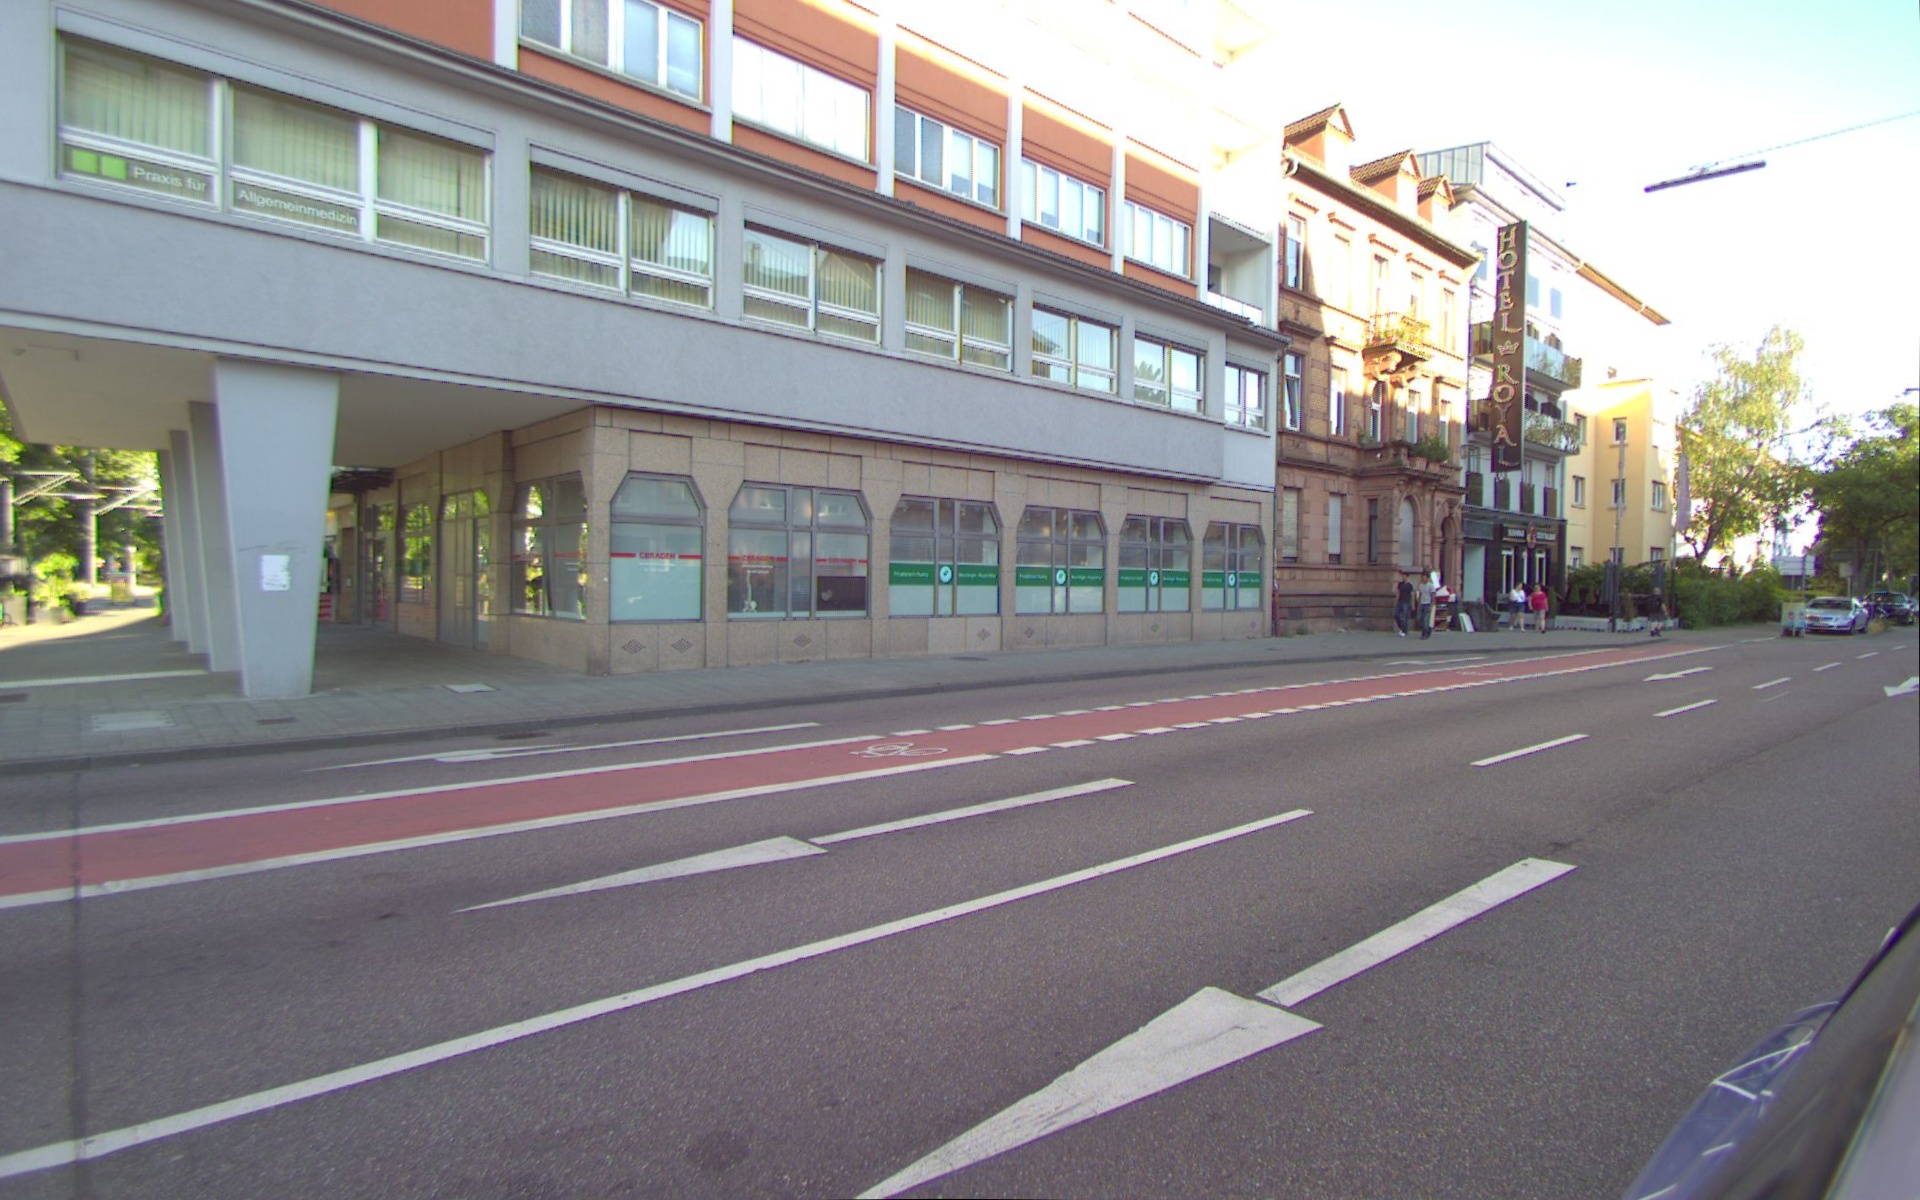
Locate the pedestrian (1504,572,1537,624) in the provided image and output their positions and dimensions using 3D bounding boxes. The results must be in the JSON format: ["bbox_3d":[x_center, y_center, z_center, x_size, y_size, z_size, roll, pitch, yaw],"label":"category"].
[{"bbox_3d":[18.555,-0.076,33.515,0.780,1.606,1.002,5,4,26],"label":"pedestrian"}]

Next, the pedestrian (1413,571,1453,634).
[{"bbox_3d":[13.339,0.060,28.512,0.993,1.747,0.667,0,1,-42],"label":"pedestrian"}]

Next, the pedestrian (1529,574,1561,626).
[{"bbox_3d":[19.190,-0.016,33.241,0.732,1.606,1.002,5,5,27],"label":"pedestrian"}]

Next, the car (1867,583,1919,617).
[{"bbox_3d":[47.569,-0.010,51.292,4.121,1.645,1.946,0,1,-42],"label":"car"}]

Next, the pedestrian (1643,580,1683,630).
[{"bbox_3d":[23.615,0.147,33.996,0.992,1.621,0.739,0,4,-37],"label":"pedestrian"}]

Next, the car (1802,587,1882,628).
[{"bbox_3d":[35.850,0.264,41.113,4.003,1.536,1.905,0,1,-41],"label":"car"}]

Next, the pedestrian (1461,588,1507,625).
[{"bbox_3d":[16.933,0.210,32.705,0.909,1.150,1.099,0,1,-43],"label":"pedestrian"}]

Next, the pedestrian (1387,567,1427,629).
[{"bbox_3d":[12.883,-0.059,29.140,0.993,1.747,0.667,0,1,-41],"label":"pedestrian"}]
